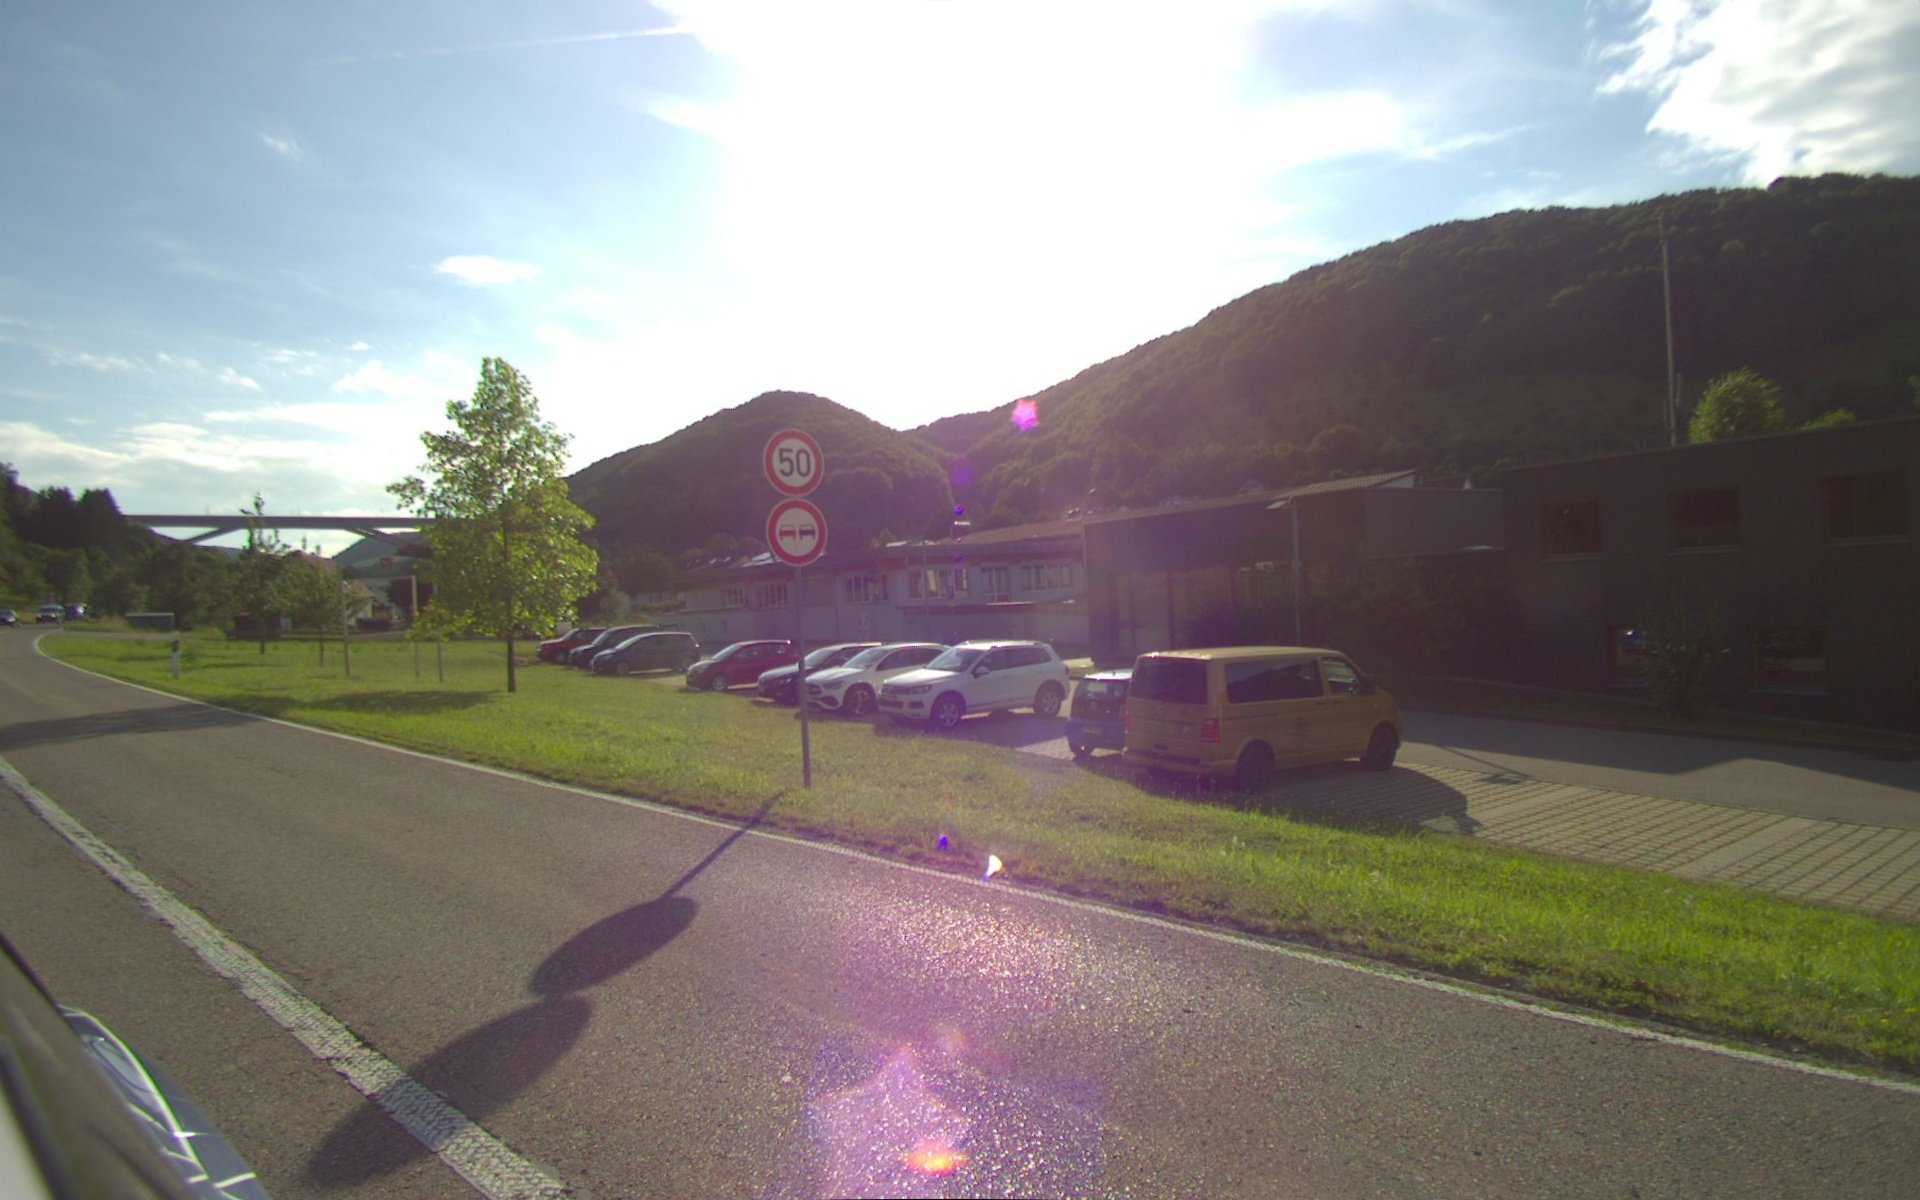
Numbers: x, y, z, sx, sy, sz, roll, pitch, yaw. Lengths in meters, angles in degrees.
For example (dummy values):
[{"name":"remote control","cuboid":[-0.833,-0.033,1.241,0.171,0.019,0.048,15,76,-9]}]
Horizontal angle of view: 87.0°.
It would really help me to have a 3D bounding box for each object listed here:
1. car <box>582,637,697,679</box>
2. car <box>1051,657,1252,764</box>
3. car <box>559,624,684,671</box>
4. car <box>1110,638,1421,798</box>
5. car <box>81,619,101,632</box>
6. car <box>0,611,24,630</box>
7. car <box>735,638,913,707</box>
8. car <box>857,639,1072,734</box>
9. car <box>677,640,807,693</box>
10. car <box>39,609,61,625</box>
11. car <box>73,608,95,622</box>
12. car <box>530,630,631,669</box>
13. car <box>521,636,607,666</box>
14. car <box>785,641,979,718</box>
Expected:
[{"name":"car","cuboid":[-12.642,2.257,40.032,3.956,1.463,1.688,-1,-2,-38]},{"name":"car","cuboid":[3.417,1.858,17.861,3.449,1.483,1.636,-1,0,-38]},{"name":"car","cuboid":[-14.841,2.051,44.557,4.927,1.807,1.688,-1,0,-38]},{"name":"car","cuboid":[4.654,1.609,15.211,4.547,1.882,2.006,-1,0,-33]},{"name":"car","cuboid":[-103.591,3.045,120.646,1.605,1.490,3.687,0,0,-37]},{"name":"car","cuboid":[-81.080,1.724,86.235,1.605,1.490,3.687,0,0,-37]},{"name":"car","cuboid":[-3.726,1.941,27.999,4.479,1.566,2.005,-1,0,-36]},{"name":"car","cuboid":[0.164,1.825,22.521,4.479,1.716,2.005,-1,0,-36]},{"name":"car","cuboid":[-6.866,2.055,31.958,3.672,1.408,1.619,-1,0,-36]},{"name":"car","cuboid":[-92.300,1.716,102.645,1.606,1.490,3.684,-1,0,-41]},{"name":"car","cuboid":[-98.873,1.638,114.214,1.605,1.490,3.687,0,0,-37]},{"name":"car","cuboid":[-18.209,2.338,48.667,4.262,1.682,1.853,-1,0,-32]},{"name":"car","cuboid":[-20.421,2.596,52.231,3.834,1.379,1.857,1,0,-35]},{"name":"car","cuboid":[-1.898,1.907,25.371,4.479,1.566,2.005,-1,0,-36]}]
